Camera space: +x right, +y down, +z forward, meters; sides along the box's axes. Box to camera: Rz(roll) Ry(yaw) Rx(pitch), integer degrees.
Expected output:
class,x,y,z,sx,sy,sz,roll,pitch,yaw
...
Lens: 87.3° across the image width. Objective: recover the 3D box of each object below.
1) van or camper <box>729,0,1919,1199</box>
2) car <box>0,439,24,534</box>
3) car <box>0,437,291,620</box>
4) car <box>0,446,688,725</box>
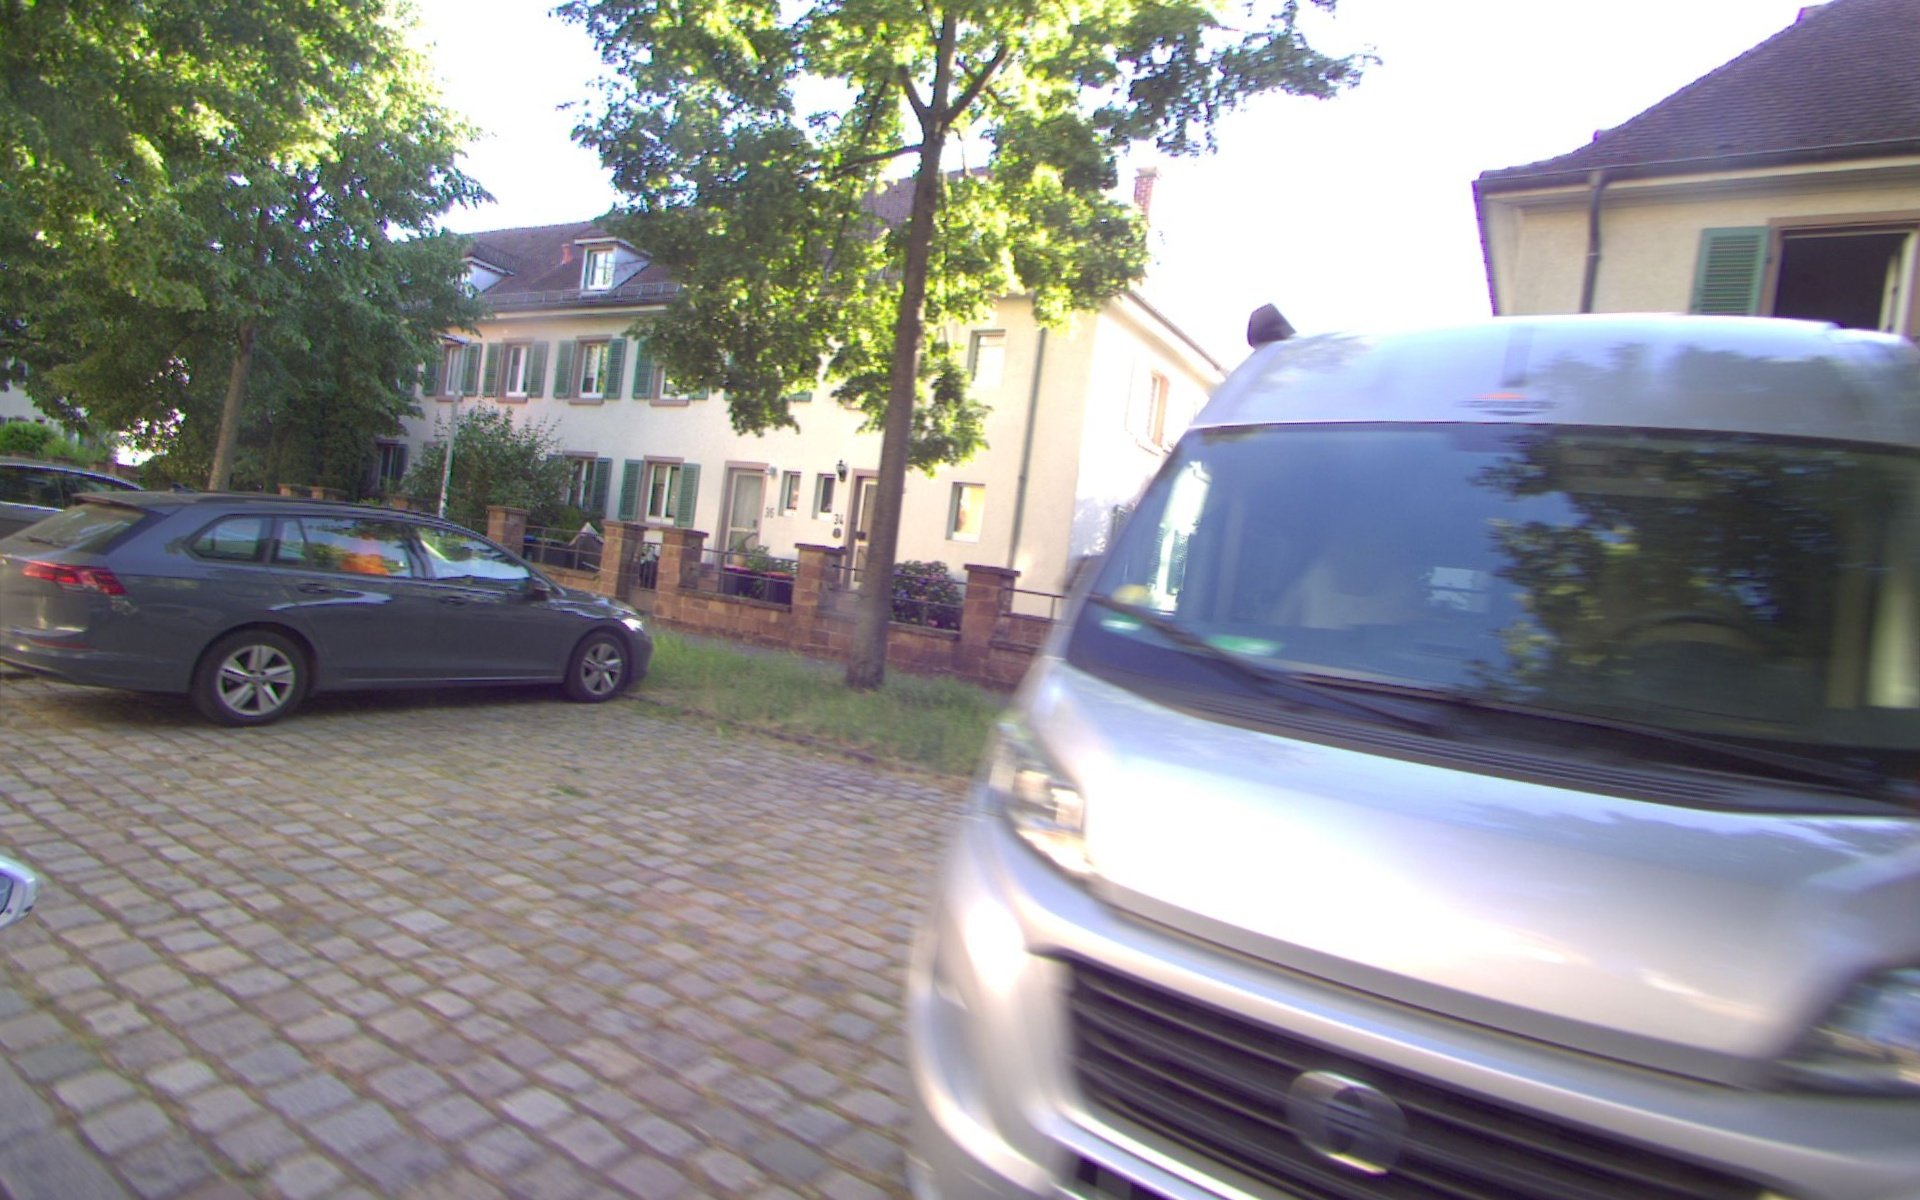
class,x,y,z,sx,sy,sz,roll,pitch,yaw
van or camper,2.000,0.289,3.666,2.230,2.570,5.577,7,2,30
car,-18.860,-2.205,16.893,1.824,1.668,4.244,7,1,33
car,-9.424,-0.752,9.989,1.723,1.626,4.248,7,1,29
car,-4.486,-0.024,7.711,1.786,1.471,4.505,7,1,33
